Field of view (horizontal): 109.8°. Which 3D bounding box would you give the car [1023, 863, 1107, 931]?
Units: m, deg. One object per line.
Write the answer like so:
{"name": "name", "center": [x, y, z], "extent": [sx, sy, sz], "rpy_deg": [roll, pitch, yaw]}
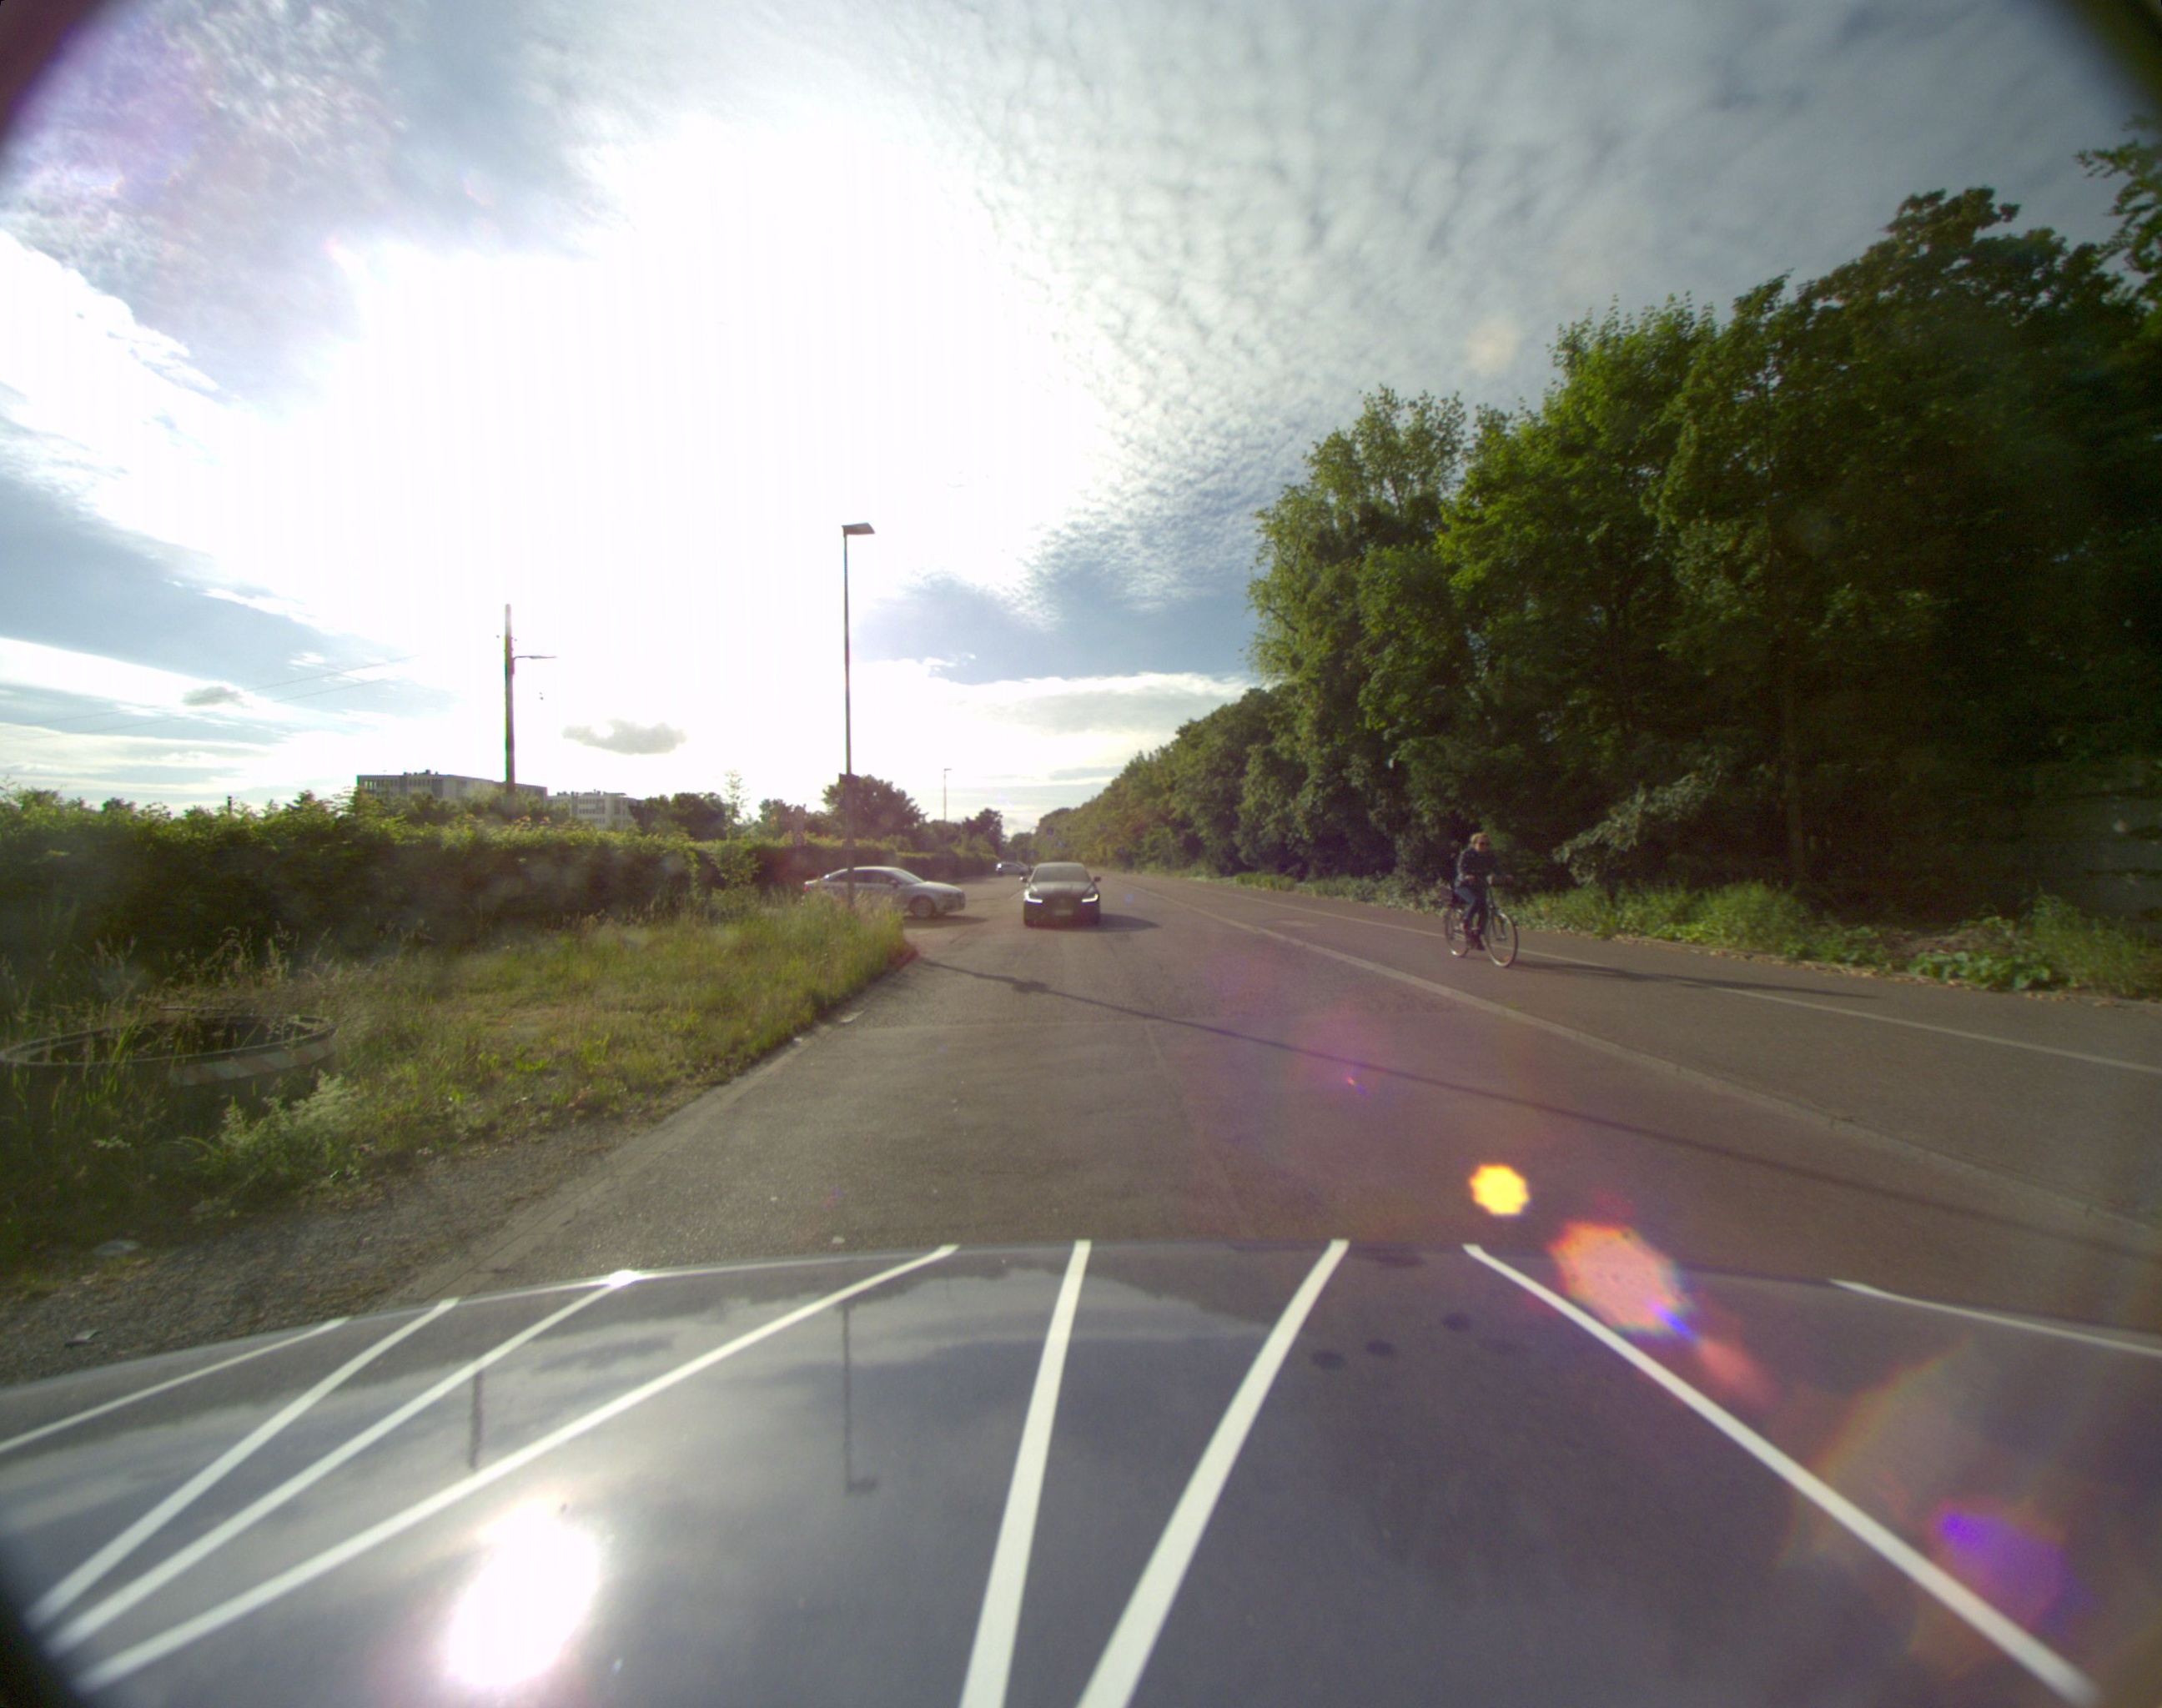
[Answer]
{"name": "car", "center": [-0.479, 1.033, 20.022], "extent": [1.937, 1.500, 4.679], "rpy_deg": [-1, 0, -3]}

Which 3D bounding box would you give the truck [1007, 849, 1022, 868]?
{"name": "truck", "center": [-14.611, 1.047, 166.343], "extent": [2.604, 3.934, 6.278], "rpy_deg": [3, -1, -9]}

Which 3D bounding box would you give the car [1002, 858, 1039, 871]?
{"name": "car", "center": [-7.643, 1.340, 96.889], "extent": [4.600, 1.689, 1.763], "rpy_deg": [0, 0, -1]}

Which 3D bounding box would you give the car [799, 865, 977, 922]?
{"name": "car", "center": [-5.241, 1.042, 21.025], "extent": [4.371, 1.435, 1.933], "rpy_deg": [0, 0, 5]}

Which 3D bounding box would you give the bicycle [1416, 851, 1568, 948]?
{"name": "bicycle", "center": [5.224, 0.523, 9.880], "extent": [0.664, 1.091, 2.348], "rpy_deg": [-2, 0, 0]}

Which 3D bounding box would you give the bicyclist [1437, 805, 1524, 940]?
{"name": "bicyclist", "center": [5.203, 0.230, 9.941], "extent": [0.610, 1.667, 0.883], "rpy_deg": [-2, 0, -1]}

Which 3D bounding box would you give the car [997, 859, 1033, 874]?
{"name": "car", "center": [-7.487, 1.430, 86.195], "extent": [3.868, 1.481, 1.692], "rpy_deg": [2, -2, -2]}
